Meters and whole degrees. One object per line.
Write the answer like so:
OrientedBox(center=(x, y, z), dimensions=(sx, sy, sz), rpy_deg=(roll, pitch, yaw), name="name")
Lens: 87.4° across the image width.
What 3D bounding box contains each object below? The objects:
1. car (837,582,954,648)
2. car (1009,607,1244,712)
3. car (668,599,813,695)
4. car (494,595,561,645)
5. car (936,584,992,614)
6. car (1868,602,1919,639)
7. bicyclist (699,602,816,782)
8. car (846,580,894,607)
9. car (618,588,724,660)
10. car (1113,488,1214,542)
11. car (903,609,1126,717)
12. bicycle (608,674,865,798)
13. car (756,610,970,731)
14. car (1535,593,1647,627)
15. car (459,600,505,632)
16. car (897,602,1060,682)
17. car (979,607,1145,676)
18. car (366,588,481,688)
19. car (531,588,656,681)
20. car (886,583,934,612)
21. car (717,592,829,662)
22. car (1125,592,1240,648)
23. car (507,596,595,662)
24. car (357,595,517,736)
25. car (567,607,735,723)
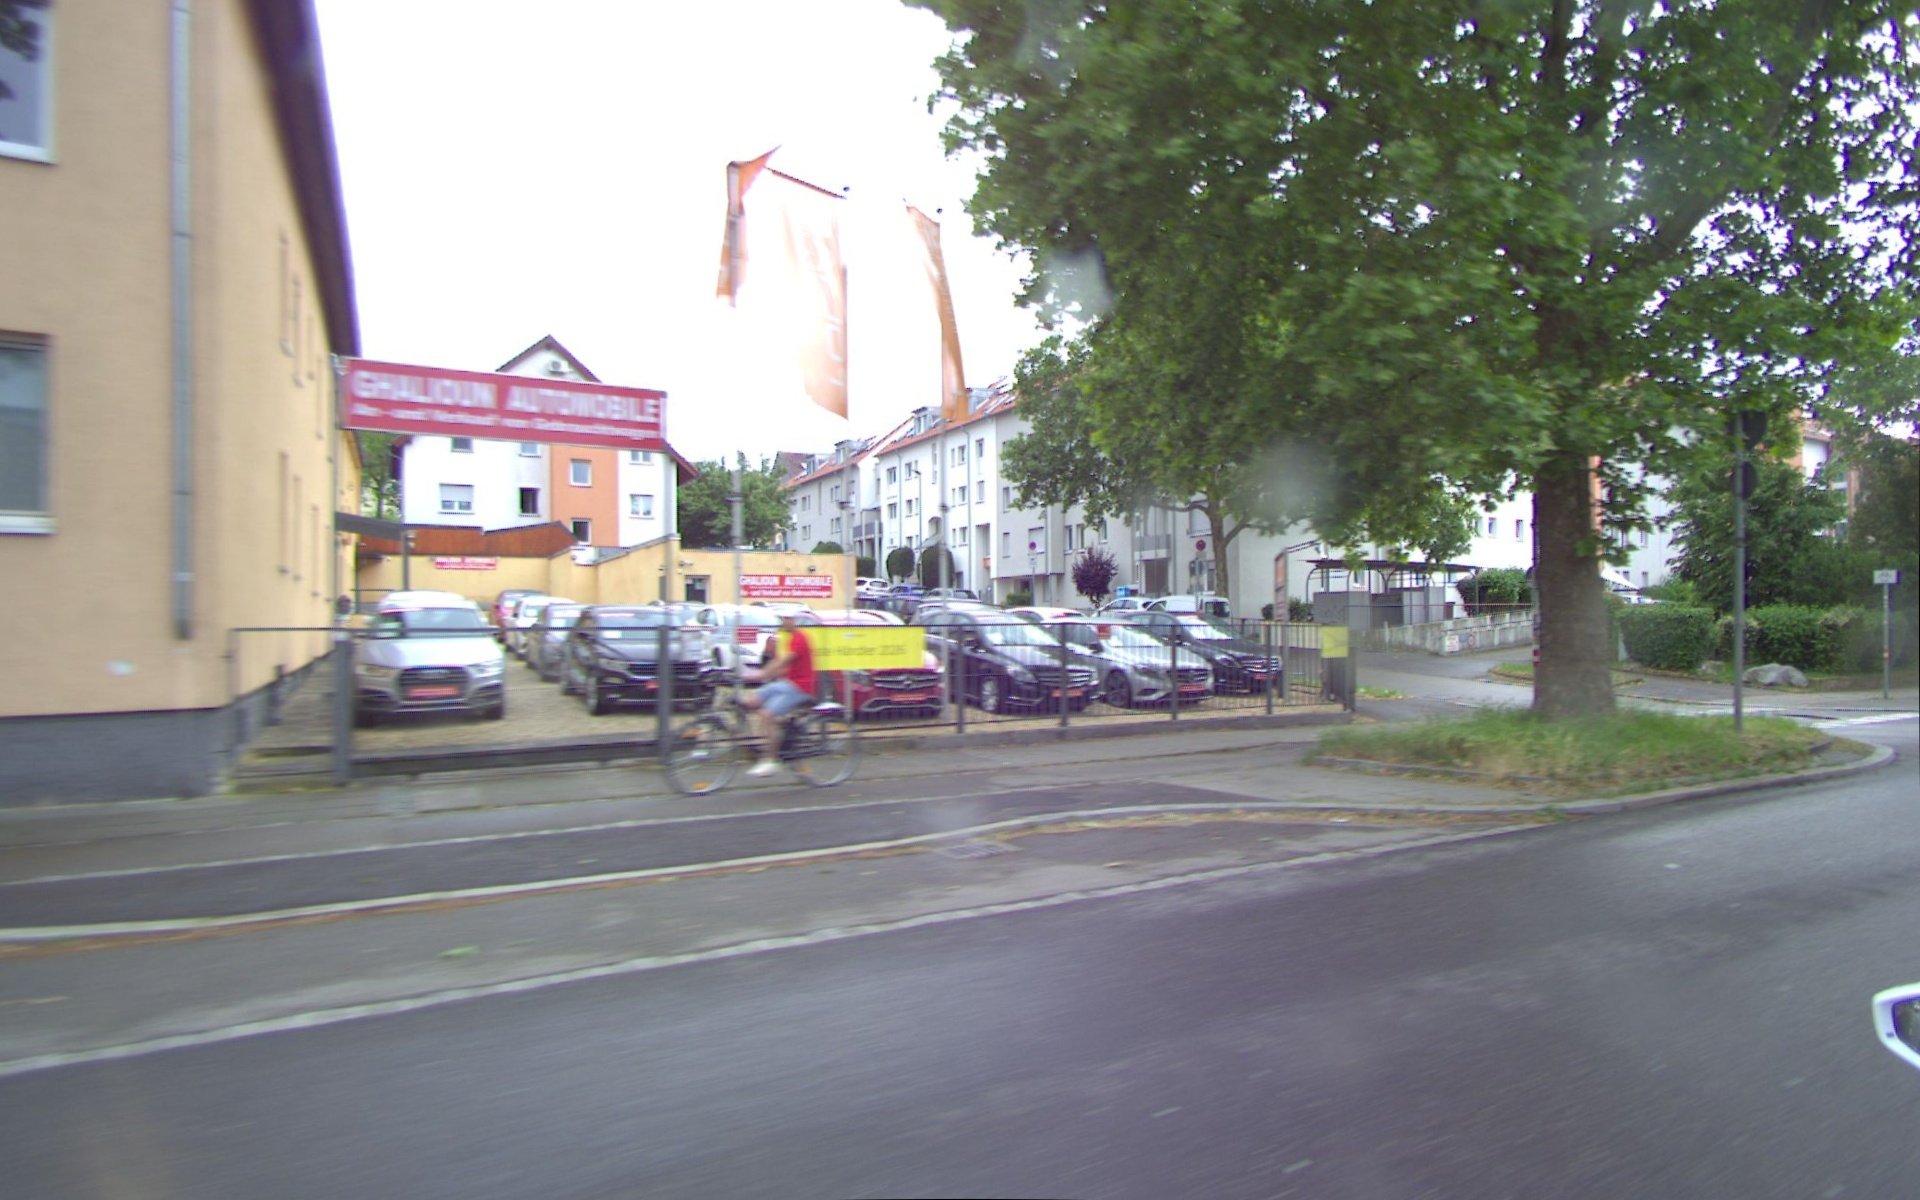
OrientedBox(center=(-1.921, 0.401, 28.756), dimensions=(1.863, 1.706, 3.971), rpy_deg=(2, 0, -27), name="car")
OrientedBox(center=(2.899, 1.002, 18.392), dimensions=(1.960, 1.559, 4.185), rpy_deg=(2, 0, -31), name="car")
OrientedBox(center=(-4.532, 0.878, 20.318), dimensions=(1.863, 1.706, 3.971), rpy_deg=(2, 0, -27), name="car")
OrientedBox(center=(-13.030, 0.563, 30.173), dimensions=(1.564, 1.371, 3.412), rpy_deg=(2, -1, -27), name="car")
OrientedBox(center=(0.158, -0.063, 50.698), dimensions=(1.551, 1.424, 2.951), rpy_deg=(3, 0, -29), name="car")
OrientedBox(center=(40.989, 0.893, 42.366), dimensions=(1.877, 1.518, 3.631), rpy_deg=(3, -1, -33), name="car")
OrientedBox(center=(-1.893, 0.823, 9.357), dimensions=(0.807, 1.573, 0.829), rpy_deg=(2, 0, -29), name="bicyclist")
OrientedBox(center=(-5.323, -0.397, 59.174), dimensions=(1.551, 1.424, 3.441), rpy_deg=(3, 0, -29), name="car")
OrientedBox(center=(-7.572, 0.579, 26.104), dimensions=(1.863, 1.706, 3.971), rpy_deg=(2, 0, -27), name="car")
OrientedBox(center=(8.407, -3.487, 41.767), dimensions=(1.859, 1.801, 3.968), rpy_deg=(6, -1, -30), name="car")
OrientedBox(center=(0.760, 0.949, 16.854), dimensions=(1.973, 1.559, 4.194), rpy_deg=(1, -1, -26), name="car")
OrientedBox(center=(-2.026, 1.209, 9.295), dimensions=(2.240, 1.009, 0.551), rpy_deg=(3, 0, -31), name="bicycle")
OrientedBox(center=(-1.653, 0.970, 15.574), dimensions=(1.933, 1.518, 4.082), rpy_deg=(1, 0, -27), name="car")
OrientedBox(center=(29.100, 0.445, 46.433), dimensions=(1.825, 1.433, 3.972), rpy_deg=(2, -1, -27), name="car")
OrientedBox(center=(-18.058, 0.583, 37.897), dimensions=(1.445, 1.063, 2.916), rpy_deg=(4, -1, -27), name="car")
OrientedBox(center=(0.336, 0.932, 23.406), dimensions=(1.977, 1.675, 3.967), rpy_deg=(2, -1, -31), name="car")
OrientedBox(center=(2.414, 0.974, 24.852), dimensions=(1.977, 1.516, 4.146), rpy_deg=(2, -1, -31), name="car")
OrientedBox(center=(-10.054, 0.637, 18.947), dimensions=(1.714, 1.636, 3.834), rpy_deg=(1, 1, -27), name="car")
OrientedBox(center=(-7.570, 0.642, 20.517), dimensions=(1.863, 1.706, 3.971), rpy_deg=(2, 0, -27), name="car")
OrientedBox(center=(-2.742, -0.145, 54.769), dimensions=(1.375, 1.424, 2.951), rpy_deg=(3, 0, -29), name="car")
OrientedBox(center=(-5.112, 0.688, 27.110), dimensions=(1.863, 1.706, 3.971), rpy_deg=(2, 0, -27), name="car")
OrientedBox(center=(8.023, 0.705, 36.561), dimensions=(1.858, 1.802, 3.968), rpy_deg=(2, 1, -30), name="car")
OrientedBox(center=(-10.312, 0.690, 25.169), dimensions=(1.682, 1.470, 3.789), rpy_deg=(2, -1, -27), name="car")
OrientedBox(center=(-7.443, 0.803, 14.383), dimensions=(1.760, 1.636, 3.971), rpy_deg=(1, 1, -27), name="car")
OrientedBox(center=(-4.983, 0.913, 15.833), dimensions=(1.862, 1.484, 3.971), rpy_deg=(1, 1, -27), name="car")
